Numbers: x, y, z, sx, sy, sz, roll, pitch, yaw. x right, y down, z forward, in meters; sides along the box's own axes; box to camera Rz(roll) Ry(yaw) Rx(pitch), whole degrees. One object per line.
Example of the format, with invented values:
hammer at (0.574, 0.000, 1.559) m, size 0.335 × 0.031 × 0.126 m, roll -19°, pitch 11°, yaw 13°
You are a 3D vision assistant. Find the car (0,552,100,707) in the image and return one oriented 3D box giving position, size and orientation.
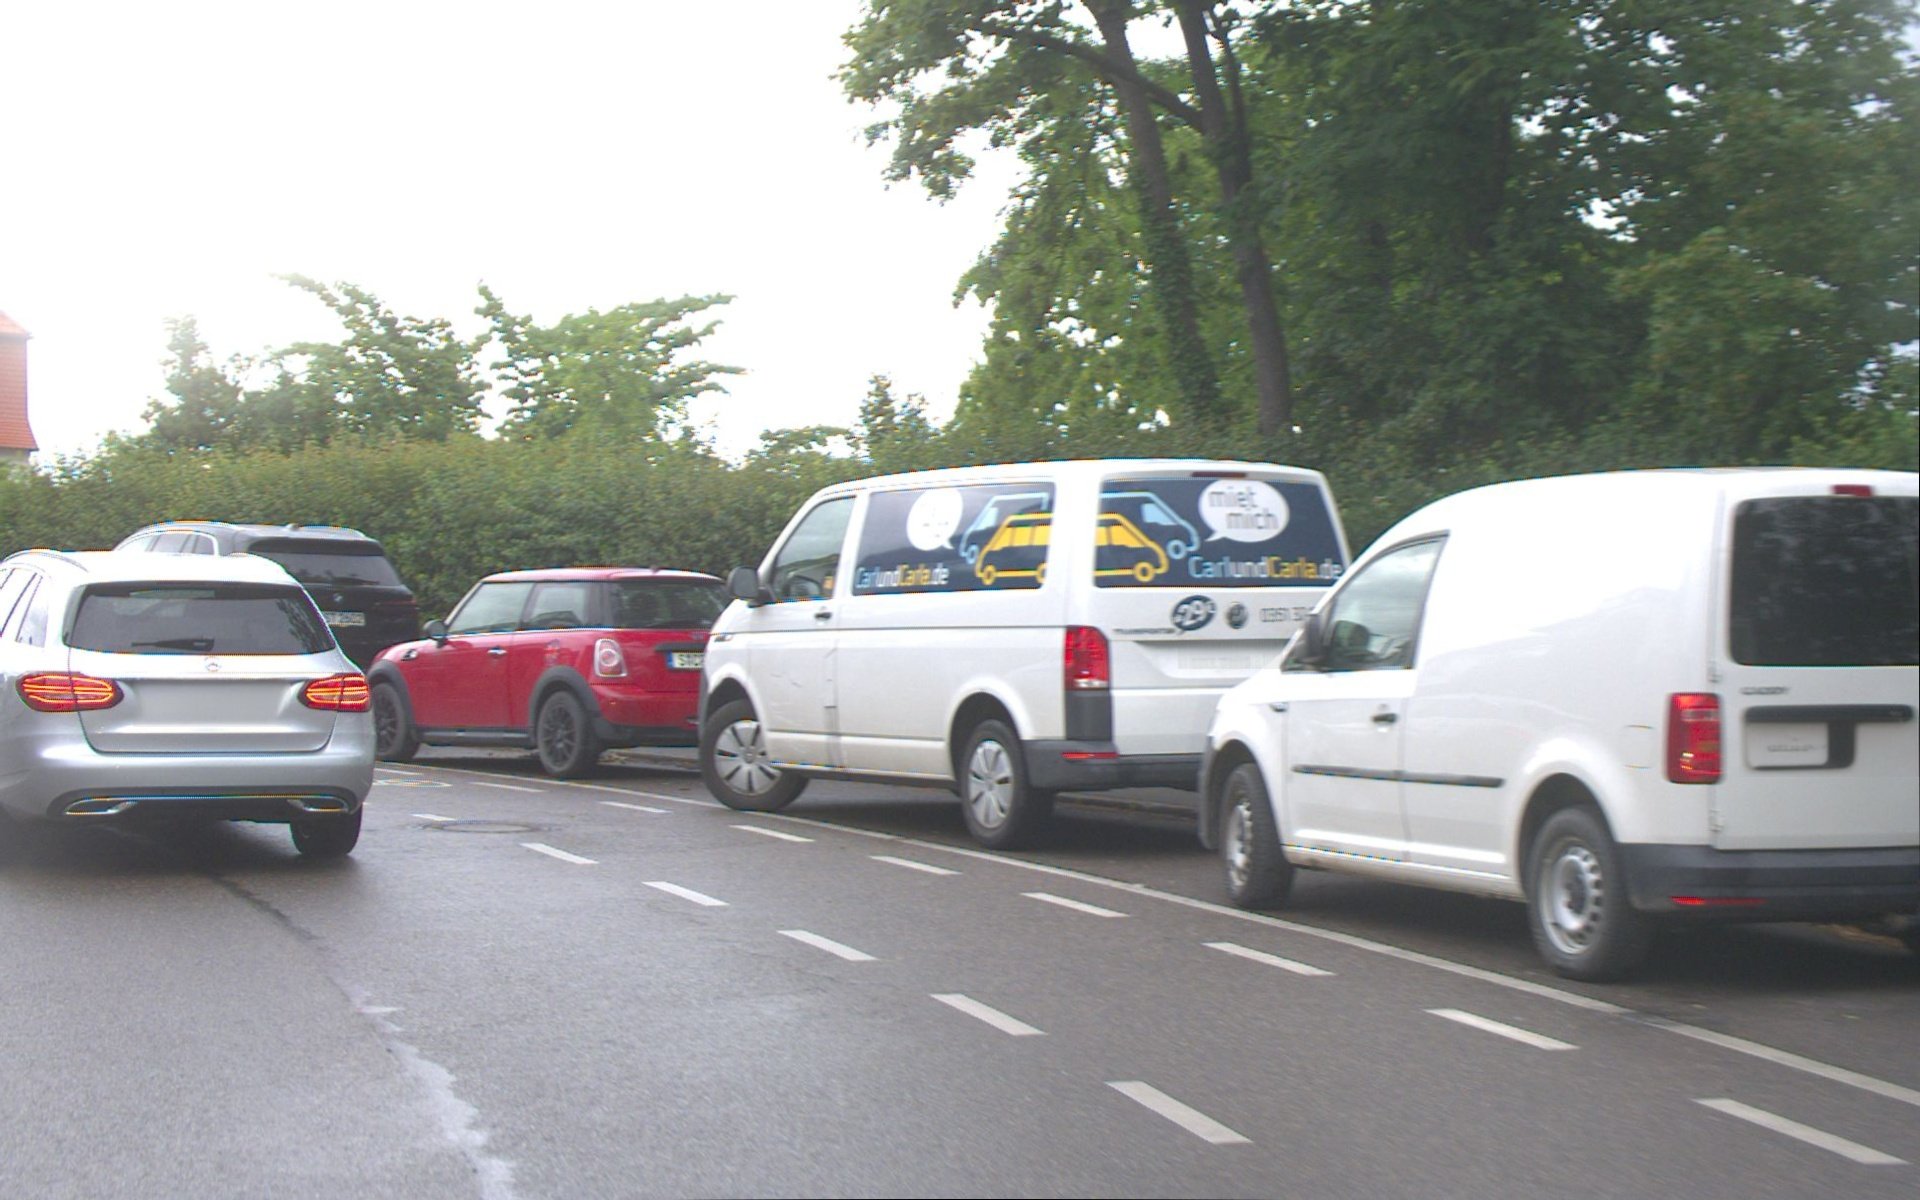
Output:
car at (-9.924, 0.260, 33.358) m, size 1.688 × 1.417 × 3.983 m, roll 2°, pitch -1°, yaw -35°

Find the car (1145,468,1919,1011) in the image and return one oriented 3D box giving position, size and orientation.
car at (2.466, 0.412, 13.557) m, size 1.859 × 1.764 × 4.380 m, roll -1°, pitch 1°, yaw -21°

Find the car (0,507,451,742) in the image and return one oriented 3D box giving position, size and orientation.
car at (-6.364, 0.157, 28.915) m, size 2.027 × 1.777 × 4.898 m, roll 2°, pitch 0°, yaw -36°

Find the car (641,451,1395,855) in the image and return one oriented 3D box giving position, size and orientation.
car at (0.148, 0.219, 19.050) m, size 1.860 × 1.941 × 4.808 m, roll 0°, pitch 1°, yaw -32°

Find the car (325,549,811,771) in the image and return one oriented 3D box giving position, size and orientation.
car at (-2.844, 0.391, 24.357) m, size 1.671 × 1.409 × 3.741 m, roll 2°, pitch 0°, yaw -38°

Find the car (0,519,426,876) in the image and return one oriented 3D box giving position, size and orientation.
car at (-4.179, 0.403, 17.271) m, size 1.982 × 1.548 × 4.299 m, roll 0°, pitch 1°, yaw -23°
